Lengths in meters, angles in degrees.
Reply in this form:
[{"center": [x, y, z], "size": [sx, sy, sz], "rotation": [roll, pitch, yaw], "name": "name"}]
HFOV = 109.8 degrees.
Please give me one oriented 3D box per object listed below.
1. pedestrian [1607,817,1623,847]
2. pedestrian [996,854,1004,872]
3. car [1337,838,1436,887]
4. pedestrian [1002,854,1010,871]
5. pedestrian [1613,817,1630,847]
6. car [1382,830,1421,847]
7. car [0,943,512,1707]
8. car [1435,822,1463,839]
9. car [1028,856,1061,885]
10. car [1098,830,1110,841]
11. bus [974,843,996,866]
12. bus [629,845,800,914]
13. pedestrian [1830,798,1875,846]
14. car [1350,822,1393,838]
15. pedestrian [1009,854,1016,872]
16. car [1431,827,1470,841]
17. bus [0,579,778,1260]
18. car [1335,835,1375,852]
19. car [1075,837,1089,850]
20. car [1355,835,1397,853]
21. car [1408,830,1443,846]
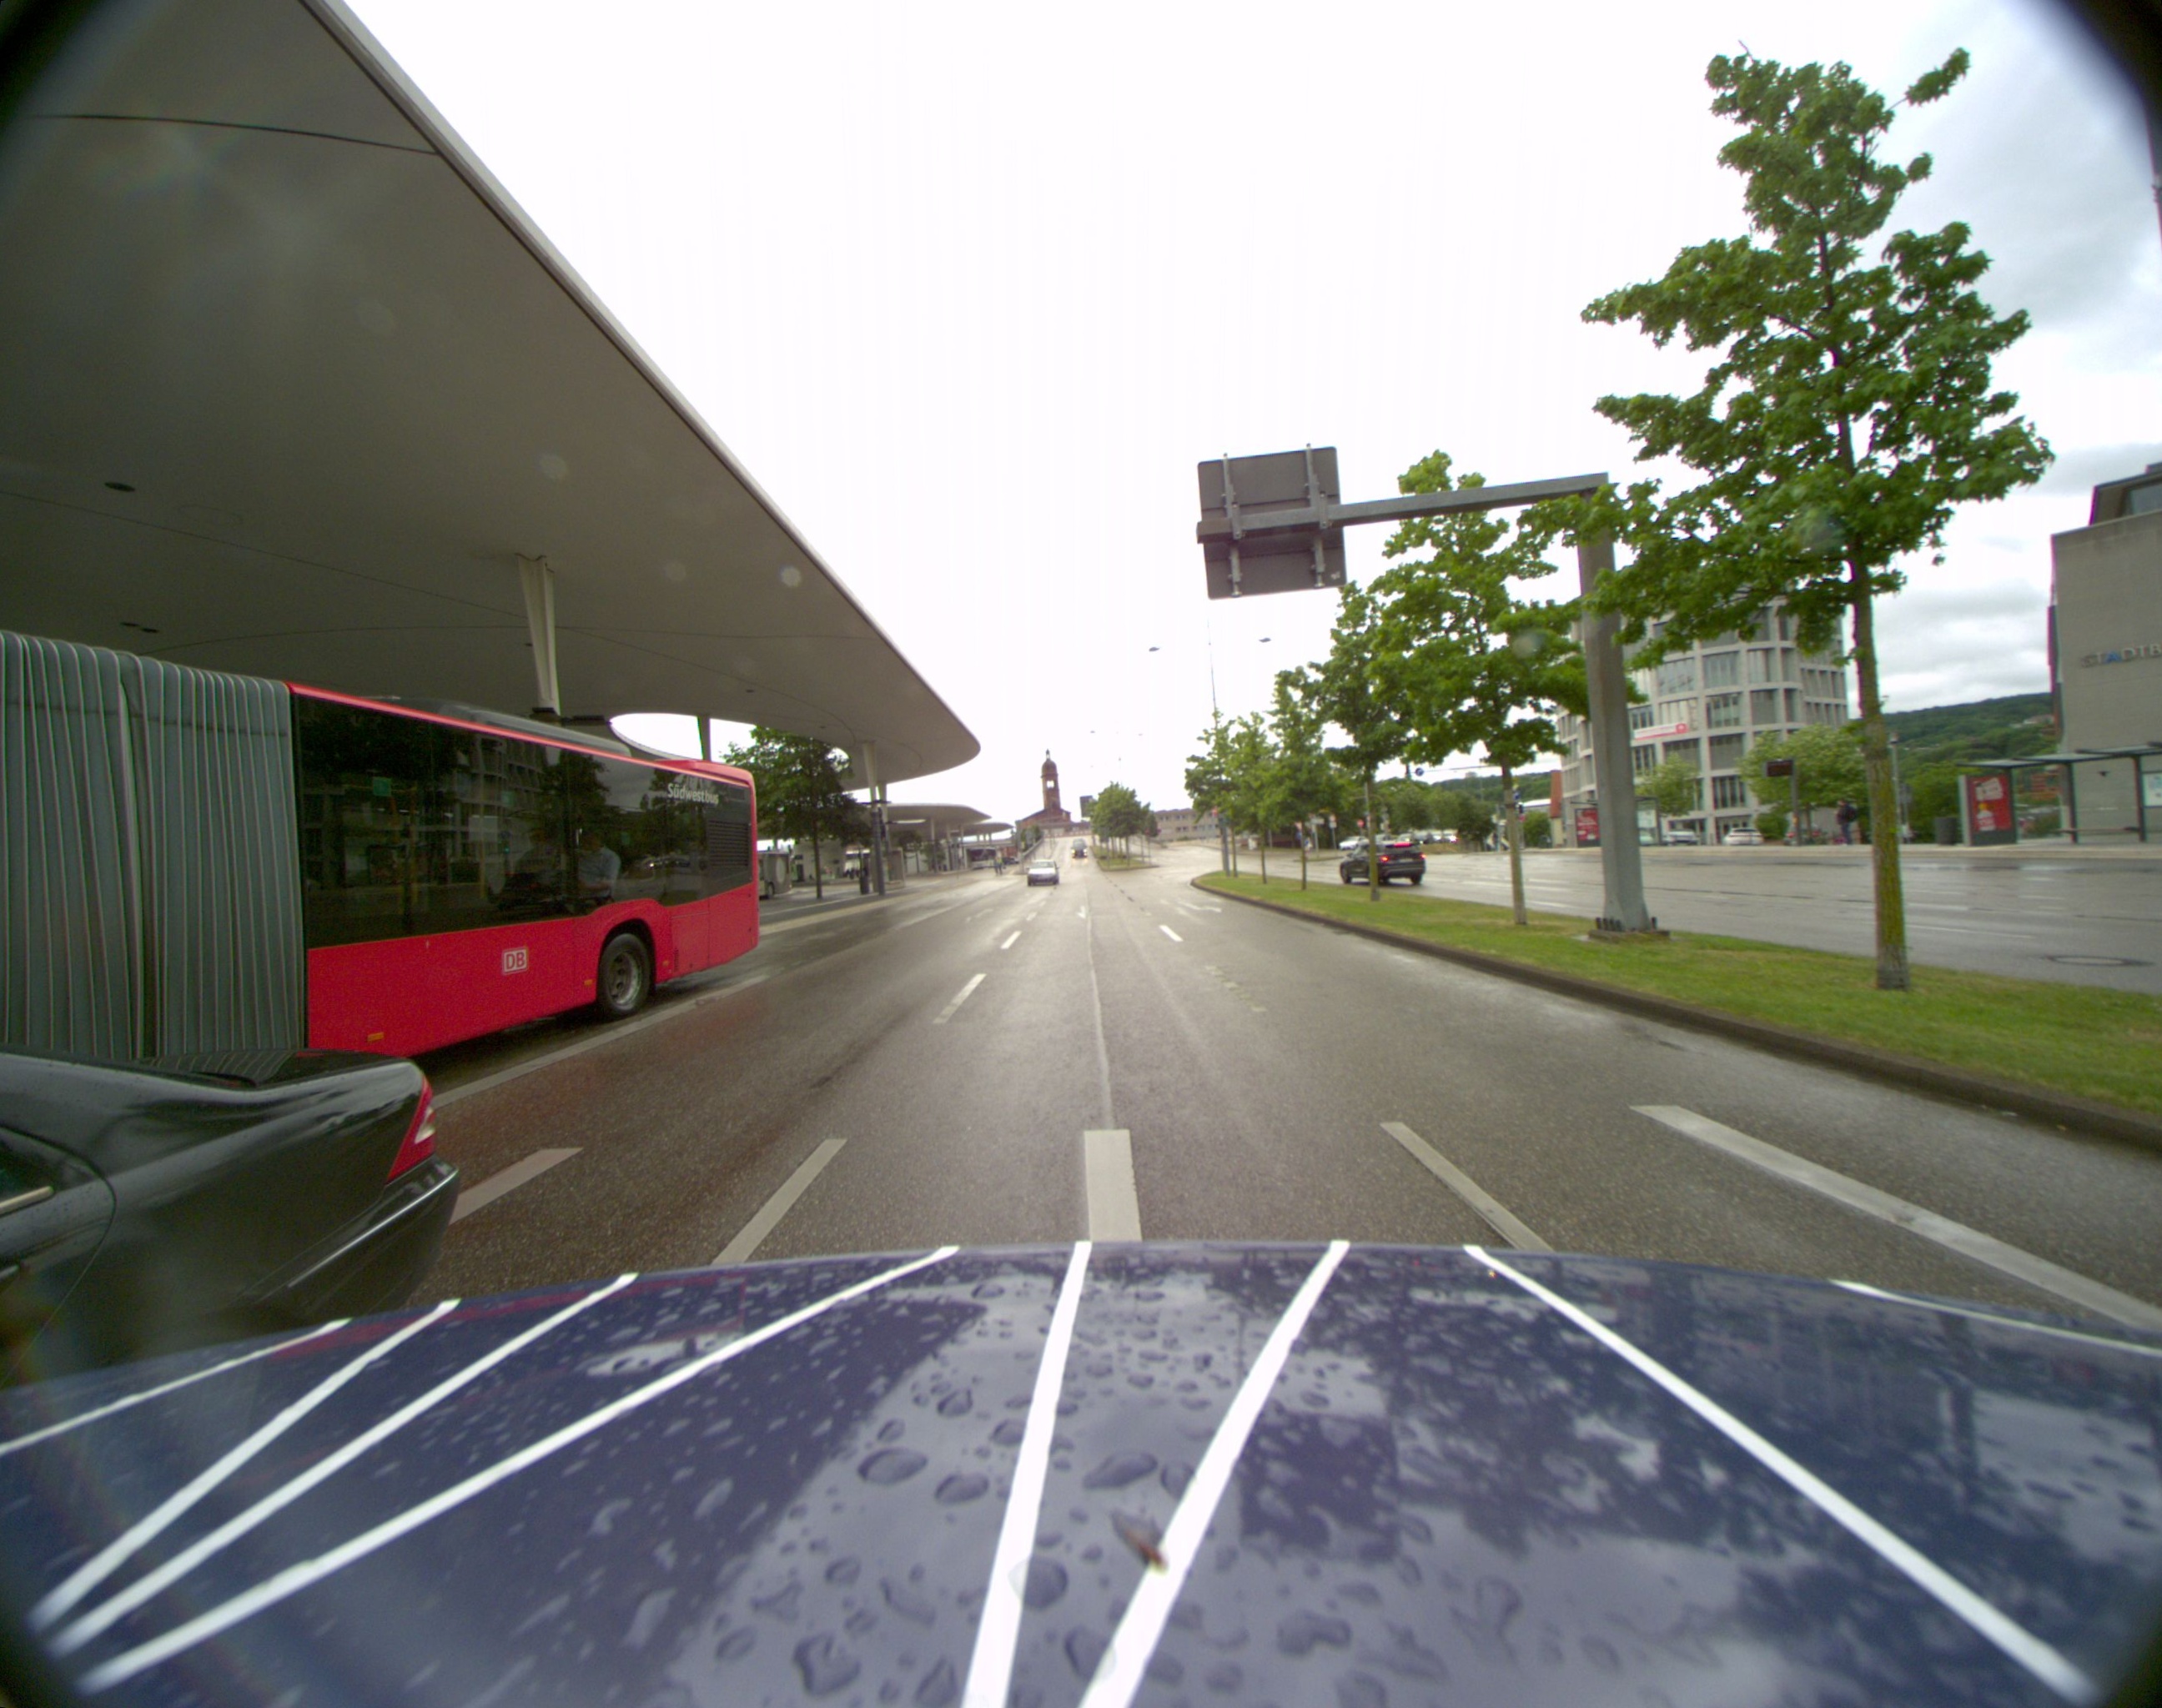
[{"center": [29.512, -1.213, 42.006], "size": [0.504, 1.625, 0.502], "rotation": [-2, 1, 1], "name": "pedestrian"}, {"center": [-7.545, 0.810, 70.553], "size": [0.576, 1.614, 0.588], "rotation": [-3, 1, 1], "name": "pedestrian"}, {"center": [11.655, 0.288, 29.364], "size": [1.826, 1.630, 4.599], "rotation": [-3, 0, -1], "name": "car"}, {"center": [-6.966, 0.783, 70.430], "size": [0.557, 1.614, 0.552], "rotation": [-3, 1, 1], "name": "pedestrian"}, {"center": [30.061, -1.240, 42.239], "size": [0.520, 1.625, 0.536], "rotation": [-2, 1, 1], "name": "pedestrian"}, {"center": [36.716, -1.788, 86.941], "size": [4.925, 1.702, 2.190], "rotation": [-3, 1, -43], "name": "car"}, {"center": [-2.843, 1.157, 0.308], "size": [1.750, 1.472, 4.434], "rotation": [-6, 1, 0], "name": "car"}, {"center": [47.375, -3.031, 97.738], "size": [1.994, 2.002, 4.008], "rotation": [-2, 0, 44], "name": "car"}, {"center": [-2.077, 0.922, 44.168], "size": [1.627, 1.450, 3.735], "rotation": [-3, 0, 0], "name": "car"}, {"center": [4.372, -3.489, 144.472], "size": [1.998, 1.765, 4.000], "rotation": [-3, 0, 1], "name": "car"}, {"center": [-14.291, 0.069, 113.262], "size": [2.675, 3.111, 9.712], "rotation": [-3, 0, -5], "name": "bus"}, {"center": [-19.901, 1.203, 42.695], "size": [3.003, 3.088, 12.355], "rotation": [-5, 0, 2], "name": "bus"}, {"center": [29.259, -1.205, 28.817], "size": [0.787, 1.750, 0.972], "rotation": [-3, 1, -28], "name": "pedestrian"}, {"center": [40.751, -3.376, 106.580], "size": [2.315, 2.002, 5.021], "rotation": [-3, 1, -41], "name": "car"}, {"center": [-6.319, 0.834, 70.308], "size": [0.557, 1.614, 0.552], "rotation": [-3, 1, 1], "name": "pedestrian"}, {"center": [50.098, -2.665, 103.013], "size": [2.196, 1.702, 4.912], "rotation": [-3, 0, -10], "name": "car"}, {"center": [-6.145, 0.350, 7.596], "size": [2.750, 3.155, 8.120], "rotation": [-3, 0, 1], "name": "bus"}, {"center": [30.684, -1.187, 85.009], "size": [4.925, 1.702, 2.190], "rotation": [-3, 1, -42], "name": "car"}, {"center": [0.088, -1.370, 101.400], "size": [1.704, 1.656, 3.998], "rotation": [-3, 1, -2], "name": "car"}, {"center": [31.645, -1.083, 81.482], "size": [4.925, 1.702, 2.190], "rotation": [-3, 1, -43], "name": "car"}, {"center": [42.220, -1.974, 93.060], "size": [4.925, 1.702, 2.190], "rotation": [-3, 1, -43], "name": "car"}]
